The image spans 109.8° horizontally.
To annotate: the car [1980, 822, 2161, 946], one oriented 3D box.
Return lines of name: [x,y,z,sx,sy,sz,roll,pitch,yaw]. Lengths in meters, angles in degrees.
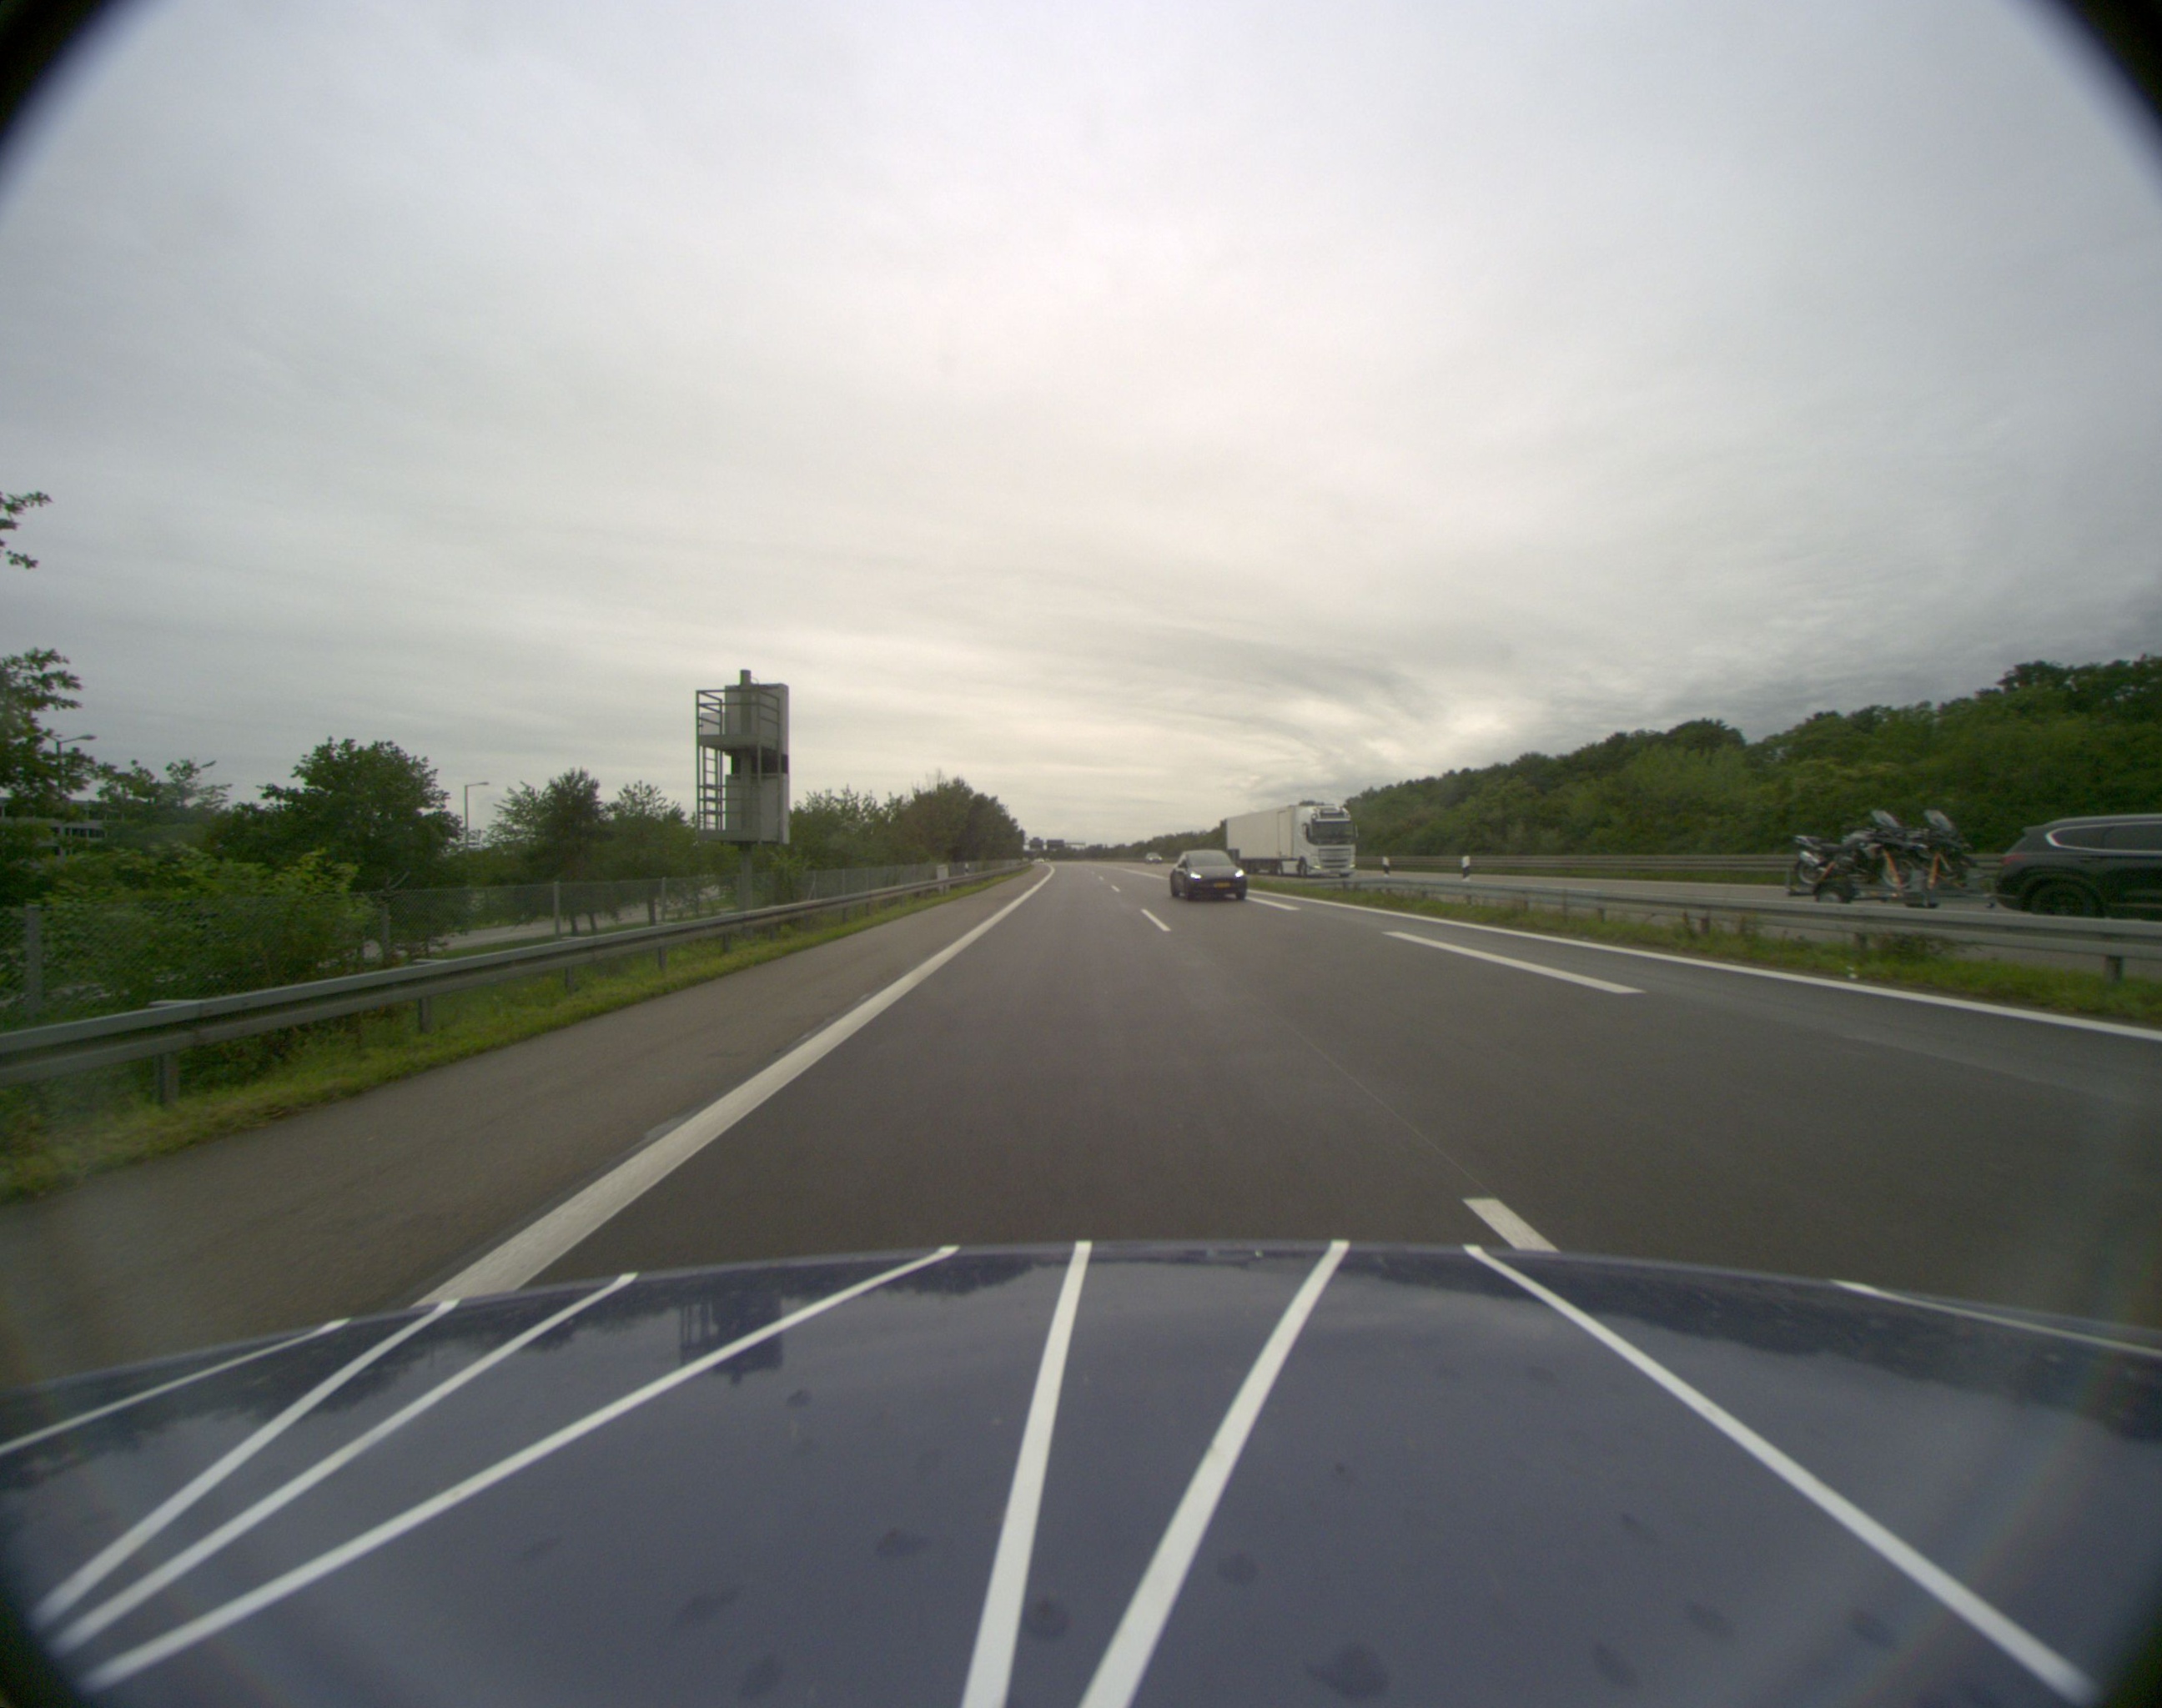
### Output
car: [15.317,0.382,9.694,1.887,1.617,4.805,-2,1,-3]

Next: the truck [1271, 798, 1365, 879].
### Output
truck: [13.055,-0.819,42.526,2.774,4.111,6.442,-2,0,-4]

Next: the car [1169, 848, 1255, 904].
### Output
car: [4.280,0.649,25.504,1.966,1.628,4.553,-2,1,-1]

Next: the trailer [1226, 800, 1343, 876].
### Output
trailer: [12.618,-0.899,49.033,2.774,4.111,13.945,-2,0,-4]

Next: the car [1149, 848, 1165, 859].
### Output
car: [12.110,-0.083,121.354,1.904,1.641,4.484,-2,0,-3]

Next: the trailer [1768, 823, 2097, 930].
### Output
trailer: [15.135,0.328,13.837,1.887,1.617,3.609,-2,1,-3]
